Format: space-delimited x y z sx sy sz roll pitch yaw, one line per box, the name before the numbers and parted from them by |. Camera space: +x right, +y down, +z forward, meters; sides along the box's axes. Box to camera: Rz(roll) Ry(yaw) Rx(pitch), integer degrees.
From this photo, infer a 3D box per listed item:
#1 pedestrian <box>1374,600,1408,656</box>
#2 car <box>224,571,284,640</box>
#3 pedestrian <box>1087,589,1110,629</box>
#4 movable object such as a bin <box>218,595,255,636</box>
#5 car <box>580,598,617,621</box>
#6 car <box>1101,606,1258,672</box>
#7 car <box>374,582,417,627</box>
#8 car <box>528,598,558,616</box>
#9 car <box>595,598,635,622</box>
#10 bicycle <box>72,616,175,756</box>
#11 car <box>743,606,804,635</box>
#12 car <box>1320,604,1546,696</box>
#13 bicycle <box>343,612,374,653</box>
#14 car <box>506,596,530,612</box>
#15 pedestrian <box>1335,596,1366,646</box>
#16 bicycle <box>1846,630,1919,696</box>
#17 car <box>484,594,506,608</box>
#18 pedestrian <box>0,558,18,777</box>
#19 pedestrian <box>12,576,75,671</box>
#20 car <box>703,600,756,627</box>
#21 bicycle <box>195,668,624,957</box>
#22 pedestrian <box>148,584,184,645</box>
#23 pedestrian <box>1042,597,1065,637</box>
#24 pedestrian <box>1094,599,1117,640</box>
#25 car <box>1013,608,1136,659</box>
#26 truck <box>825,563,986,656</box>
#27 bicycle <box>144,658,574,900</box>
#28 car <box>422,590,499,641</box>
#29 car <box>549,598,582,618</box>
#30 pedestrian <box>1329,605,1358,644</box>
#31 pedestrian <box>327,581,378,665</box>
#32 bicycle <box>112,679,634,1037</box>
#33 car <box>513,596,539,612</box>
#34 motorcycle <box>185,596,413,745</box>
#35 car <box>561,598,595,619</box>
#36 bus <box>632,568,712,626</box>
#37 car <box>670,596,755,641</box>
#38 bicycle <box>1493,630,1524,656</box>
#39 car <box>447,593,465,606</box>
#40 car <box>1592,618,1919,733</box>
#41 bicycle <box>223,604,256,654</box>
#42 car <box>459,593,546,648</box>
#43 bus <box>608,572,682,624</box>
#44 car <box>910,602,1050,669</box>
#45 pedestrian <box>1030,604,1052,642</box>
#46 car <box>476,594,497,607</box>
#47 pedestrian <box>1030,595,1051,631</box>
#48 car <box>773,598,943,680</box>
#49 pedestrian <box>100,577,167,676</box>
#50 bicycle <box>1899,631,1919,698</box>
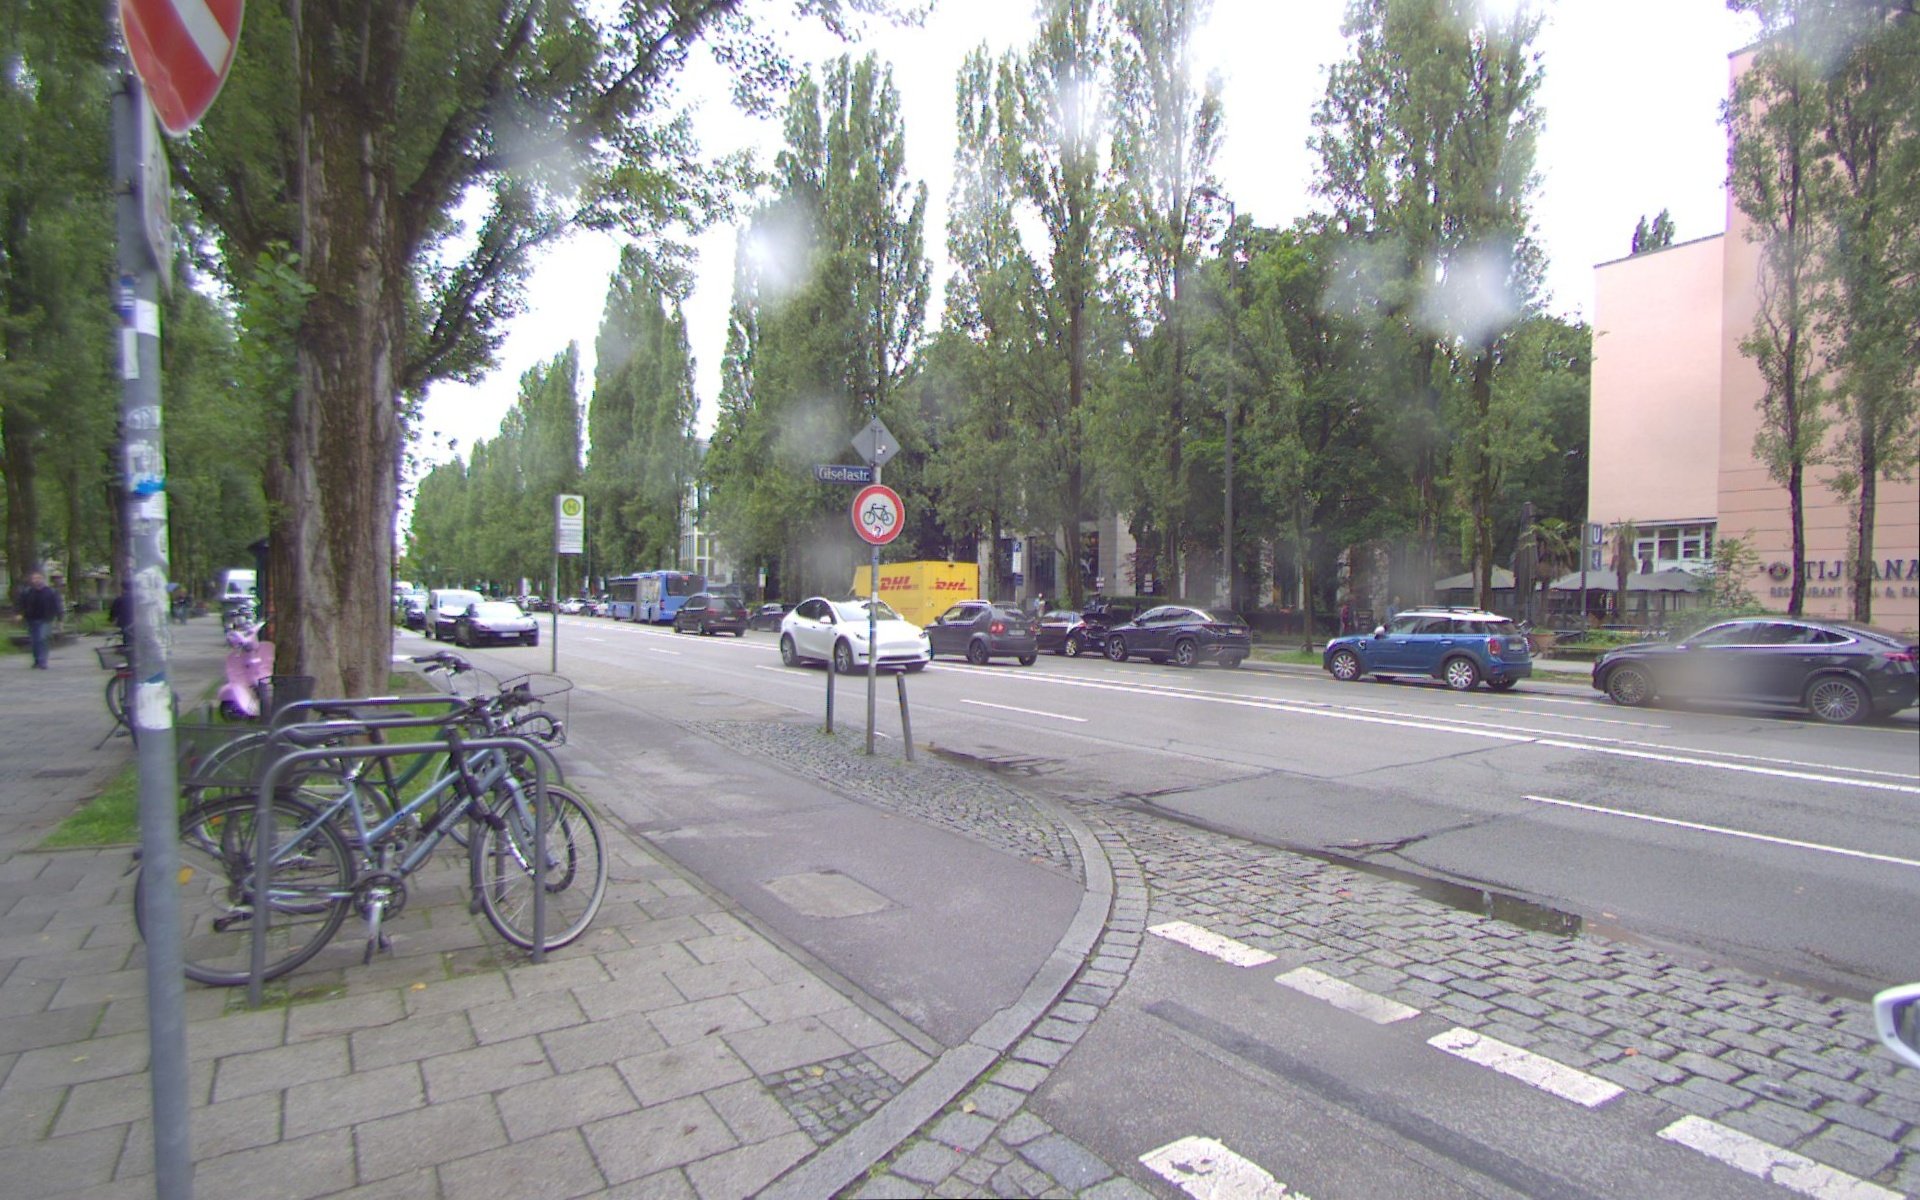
pedestrian | 13.641 0.876 31.782 0.701 1.736 0.725 0 0 -33
car | -33.121 0.244 47.171 2.178 3.057 5.940 0 0 -35
pedestrian | 6.217 0.402 45.196 0.701 1.736 0.725 0 0 -33
movable object such as a bin | -26.009 0.557 36.131 1.053 1.423 0.973 0 0 -36
car | -29.236 0.734 81.194 1.978 1.745 4.083 2 -1 -33
car | 5.899 0.988 27.459 1.774 1.622 4.198 0 0 -33
car | -35.822 0.262 63.670 1.991 2.667 5.944 0 0 -33
car | -42.935 0.713 103.404 1.978 1.745 4.772 2 -1 -32
car | -26.444 0.734 76.827 1.978 1.745 4.083 2 -1 -33
bicycle | -8.016 0.774 9.676 0.577 1.204 1.601 0 0 -33
car | -9.734 1.050 52.175 1.774 1.431 3.846 1 0 -33
car | 9.992 0.999 21.510 1.775 1.755 4.039 2 -1 -34
bicycle | -16.038 0.844 26.772 0.548 1.036 1.744 0 0 -36
car | -52.037 0.465 118.192 1.978 1.745 4.309 2 -1 -32
pedestrian | 13.816 0.745 35.553 0.701 1.736 0.725 0 0 -33
bicycle | 17.161 1.140 18.587 1.968 1.139 0.670 0 0 -33
car | -60.507 0.137 130.578 1.978 1.745 4.309 2 -1 -32
pedestrian | -8.167 0.547 8.019 0.743 1.796 0.700 2 -1 -29
pedestrian | -16.956 0.434 18.603 0.727 1.715 0.642 0 0 -30
car | -13.239 0.753 57.607 1.774 1.431 3.846 0 0 -33
bicycle | -2.494 0.908 4.716 1.682 1.108 0.488 0 0 -29
pedestrian | -22.945 0.414 29.045 0.727 1.715 0.642 0 0 -30
pedestrian | 4.131 0.756 44.339 0.701 1.736 0.725 0 0 -33
pedestrian | 6.322 0.836 43.699 0.701 1.736 0.725 0 0 -33
car | 3.487 1.003 31.147 1.774 1.431 3.846 1 0 -33
truck | -2.103 0.304 35.475 2.573 2.946 7.017 0 0 -32
bicycle | -3.212 0.906 5.561 1.960 1.108 0.488 0 0 -29
car | -18.588 0.588 37.282 1.992 1.780 3.961 0 -1 -35
car | -36.878 0.719 93.919 1.978 1.745 4.772 2 -1 -32
pedestrian | 14.089 0.894 36.901 0.724 1.373 0.703 0 0 -33
pedestrian | -13.870 0.511 22.929 0.883 1.868 0.759 0 0 -41
bicycle | -2.204 0.908 3.974 1.682 1.108 0.488 0 0 -29
car | -48.338 0.464 111.724 1.978 1.745 4.309 2 -1 -32
motorcycle | -6.511 0.664 9.910 1.951 1.211 0.630 6 1 13
car | -34.041 0.727 89.472 1.978 1.745 4.083 2 -1 -33
bus | -16.775 -0.132 58.053 2.890 3.092 8.457 0 0 -27
car | -10.373 0.740 41.849 1.978 1.745 4.772 2 -1 -32
bicycle | 17.082 1.332 31.276 1.016 0.809 0.322 1 0 -28
car | -74.956 -0.084 149.320 1.978 1.745 4.309 2 -1 -33
car | 13.256 1.119 16.575 1.774 1.549 4.473 0 0 -33
bicycle | -18.155 0.710 25.330 0.577 1.204 2.122 0 0 -33
car | -14.597 0.604 31.928 1.990 1.602 3.964 1 0 -32
bus | -20.628 -0.094 65.393 2.891 3.092 9.724 0 0 -28
car | 0.434 0.849 25.528 1.829 1.547 3.720 2 0 -32
pedestrian | 3.728 1.049 46.013 0.701 1.736 0.725 0 0 -33
car | -63.834 0.056 135.454 1.978 1.745 4.309 2 -1 -32
pedestrian | 3.891 0.620 48.736 0.701 1.736 0.725 0 0 -33
car | -2.403 0.771 22.469 1.978 1.596 4.598 -1 1 -32
pedestrian | -14.928 0.463 18.173 0.850 1.734 0.949 0 0 -35
bicycle | 17.579 1.136 17.986 1.968 1.139 0.670 0 0 -33
